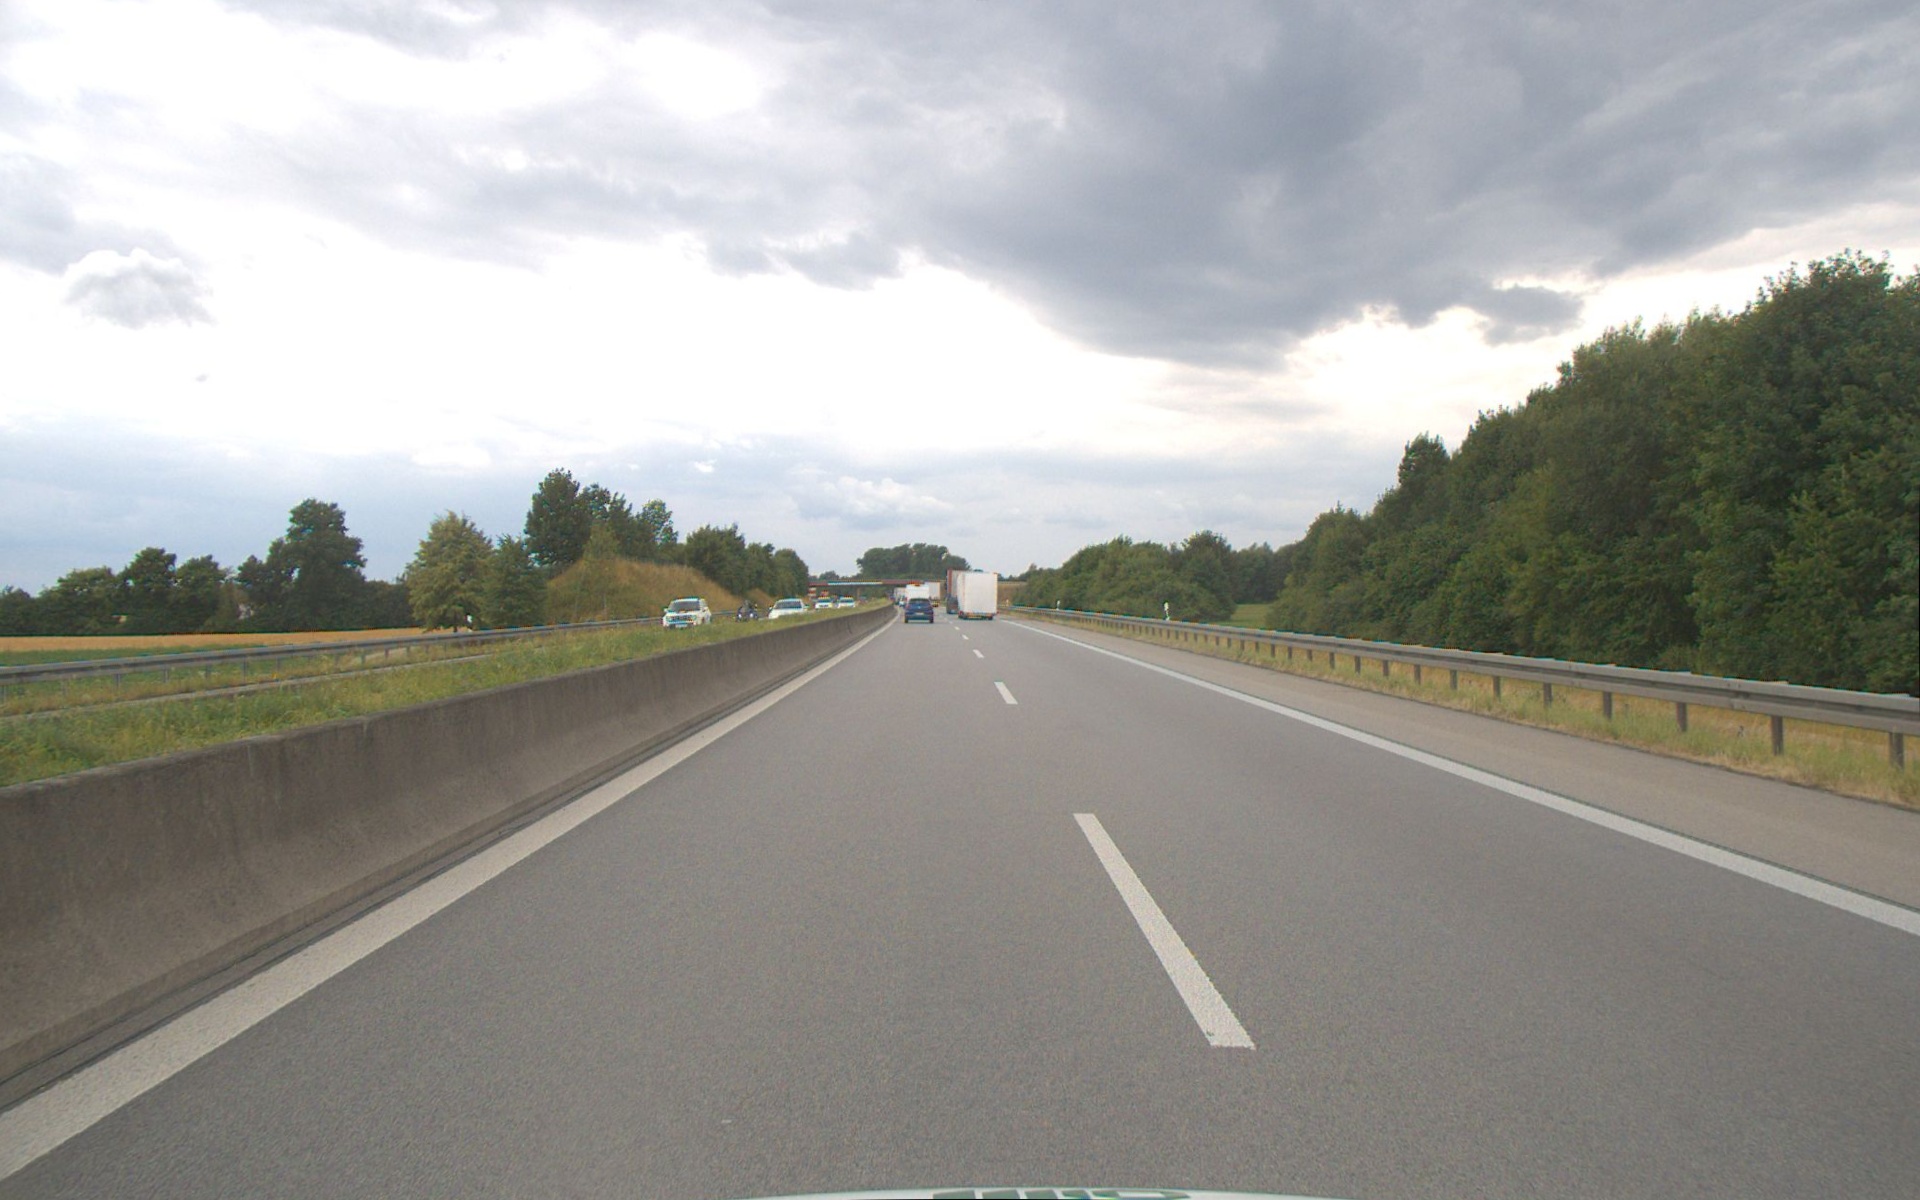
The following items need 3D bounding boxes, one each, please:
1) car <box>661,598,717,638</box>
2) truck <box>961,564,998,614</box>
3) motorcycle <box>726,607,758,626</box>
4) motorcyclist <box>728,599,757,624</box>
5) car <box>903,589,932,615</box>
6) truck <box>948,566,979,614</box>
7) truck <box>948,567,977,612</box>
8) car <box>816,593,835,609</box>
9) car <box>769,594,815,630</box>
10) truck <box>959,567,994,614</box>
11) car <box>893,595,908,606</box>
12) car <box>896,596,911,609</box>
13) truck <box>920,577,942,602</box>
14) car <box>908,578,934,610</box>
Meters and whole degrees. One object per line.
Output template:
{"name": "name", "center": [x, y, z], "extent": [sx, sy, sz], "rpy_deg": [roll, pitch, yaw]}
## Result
{"name": "car", "center": [-12.240, 0.789, 74.976], "extent": [1.799, 1.654, 4.690], "rpy_deg": [-2, 0, -1]}
{"name": "truck", "center": [1.283, -0.699, 112.962], "extent": [2.366, 3.278, 7.142], "rpy_deg": [0, 0, -1]}
{"name": "motorcycle", "center": [-12.929, 0.978, 98.322], "extent": [1.535, 1.097, 2.981], "rpy_deg": [-2, 0, -1]}
{"name": "motorcyclist", "center": [-12.937, 0.671, 98.341], "extent": [1.535, 1.395, 1.252], "rpy_deg": [-2, 0, -2]}
{"name": "car", "center": [-2.439, 0.114, 95.369], "extent": [1.630, 1.432, 3.647], "rpy_deg": [0, 0, -2]}
{"name": "truck", "center": [0.281, -0.930, 150.075], "extent": [2.618, 4.116, 11.106], "rpy_deg": [-1, 0, 0]}
{"name": "truck", "center": [0.225, -0.972, 155.501], "extent": [2.619, 4.116, 5.512], "rpy_deg": [-1, 0, -1]}
{"name": "car", "center": [-14.423, 0.092, 177.995], "extent": [1.828, 1.602, 4.691], "rpy_deg": [-2, 0, -2]}
{"name": "car", "center": [-8.669, 0.589, 85.622], "extent": [1.908, 1.724, 5.173], "rpy_deg": [-2, 0, -1]}
{"name": "truck", "center": [1.185, -0.662, 120.144], "extent": [2.380, 3.300, 7.245], "rpy_deg": [0, 0, -1]}
{"name": "car", "center": [-8.889, 0.055, 246.862], "extent": [1.954, 1.713, 3.996], "rpy_deg": [0, 0, -5]}
{"name": "car", "center": [-7.396, 0.367, 216.491], "extent": [1.896, 1.672, 4.901], "rpy_deg": [0, 0, -2]}
{"name": "truck", "center": [-4.641, -1.593, 261.934], "extent": [3.049, 3.754, 9.317], "rpy_deg": [-2, 0, -3]}
{"name": "car", "center": [-3.229, -0.480, 135.386], "extent": [2.087, 2.526, 5.837], "rpy_deg": [0, 0, -2]}
